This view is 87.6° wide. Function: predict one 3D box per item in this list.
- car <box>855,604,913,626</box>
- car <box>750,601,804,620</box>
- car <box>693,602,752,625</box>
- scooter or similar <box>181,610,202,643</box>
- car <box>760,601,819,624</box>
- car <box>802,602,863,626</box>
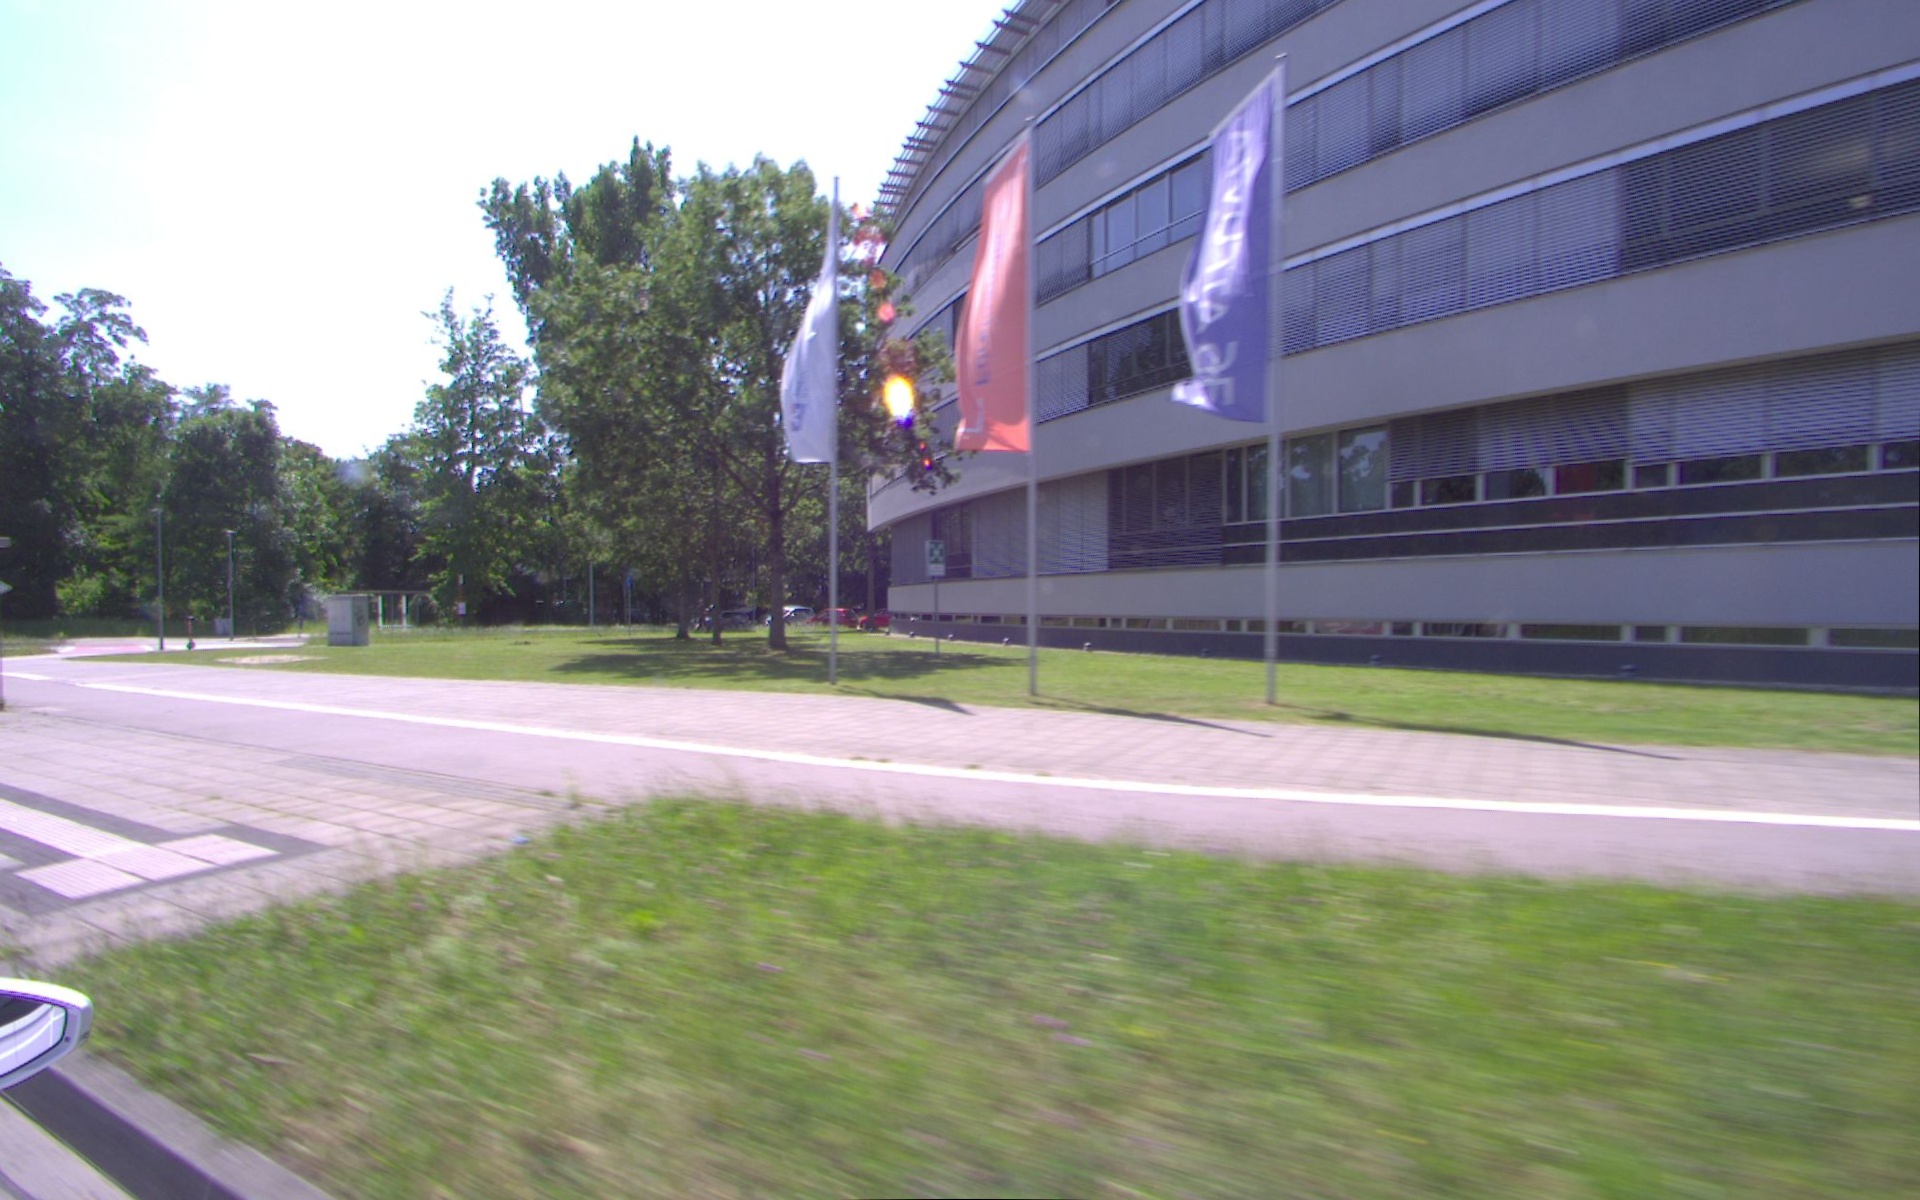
[{"bbox_3d":[-5.237,1.033,69.183,3.633,1.502,1.859,0,-1,33],"label":"car"},{"bbox_3d":[-13.916,0.786,76.275,1.861,1.434,3.763,0,0,40],"label":"car"},{"bbox_3d":[-16.928,0.959,71.532,1.680,1.506,3.974,3,1,37],"label":"car"},{"bbox_3d":[-28.156,0.966,36.696,0.441,1.217,1.391,1,-1,-30],"label":"scooter or similar"},{"bbox_3d":[-12.398,0.926,73.108,1.769,1.627,4.097,0,-1,39],"label":"car"},{"bbox_3d":[-8.364,0.935,65.501,3.633,1.502,1.859,0,-1,33],"label":"car"}]
